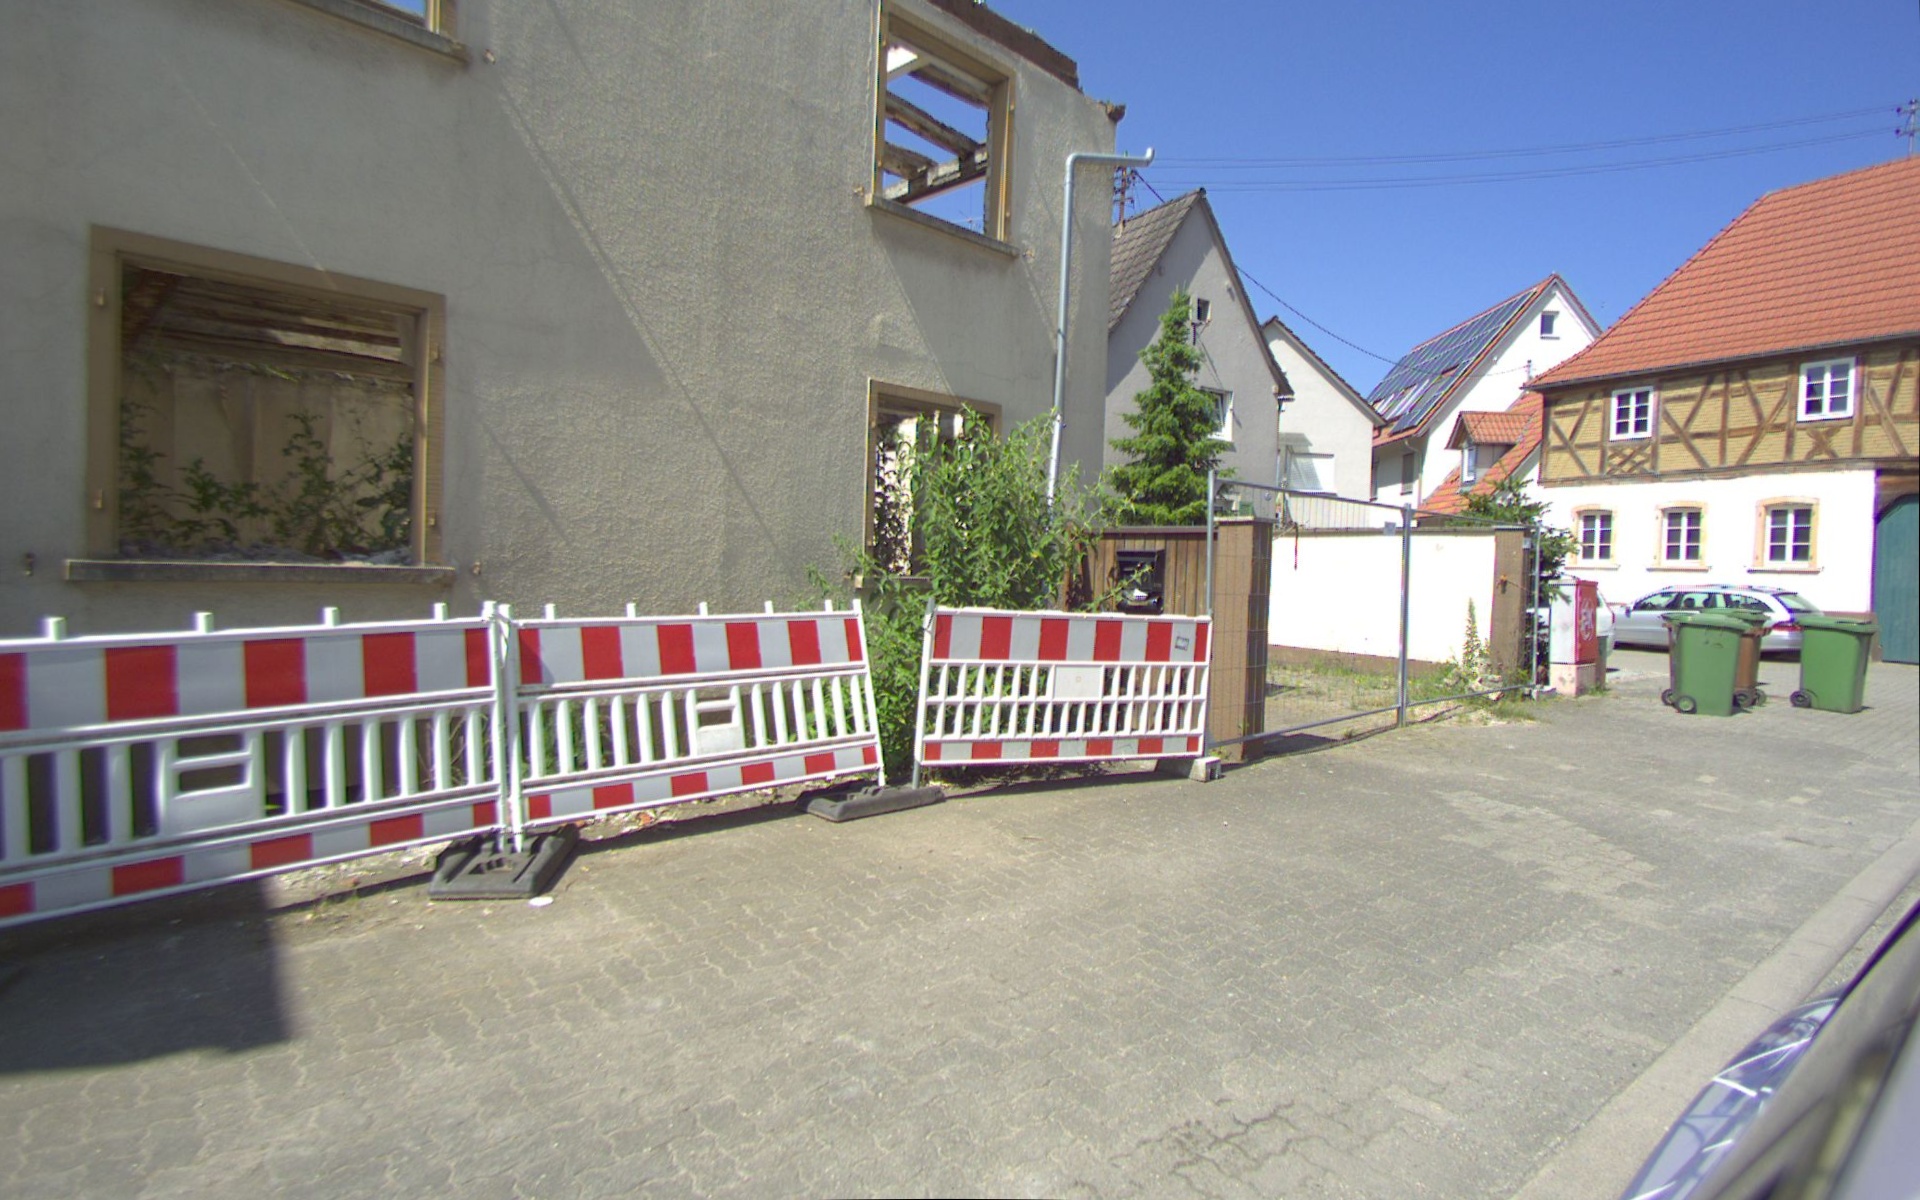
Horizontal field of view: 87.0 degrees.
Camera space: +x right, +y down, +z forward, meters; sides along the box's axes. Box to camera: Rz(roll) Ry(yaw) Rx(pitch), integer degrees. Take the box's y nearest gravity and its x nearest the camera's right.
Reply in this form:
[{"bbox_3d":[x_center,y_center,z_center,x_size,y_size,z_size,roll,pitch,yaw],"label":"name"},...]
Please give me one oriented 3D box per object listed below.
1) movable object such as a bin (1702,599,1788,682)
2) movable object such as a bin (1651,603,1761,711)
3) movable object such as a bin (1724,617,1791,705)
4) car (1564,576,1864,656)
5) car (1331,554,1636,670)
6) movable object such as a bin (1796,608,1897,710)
[{"bbox_3d":[11.049,0.555,14.250,0.741,1.094,0.723,1,2,-34],"label":"movable object such as a bin"},{"bbox_3d":[8.128,0.598,11.057,0.752,1.085,0.668,2,2,19],"label":"movable object such as a bin"},{"bbox_3d":[9.216,0.690,11.697,0.453,0.961,0.446,0,2,-31],"label":"movable object such as a bin"},{"bbox_3d":[15.994,0.266,21.791,1.959,1.470,4.775,1,1,-28],"label":"car"},{"bbox_3d":[7.942,0.173,15.357,4.207,1.547,1.821,1,2,-24],"label":"car"},{"bbox_3d":[10.279,0.665,11.742,0.625,1.105,0.690,1,2,-31],"label":"movable object such as a bin"}]
